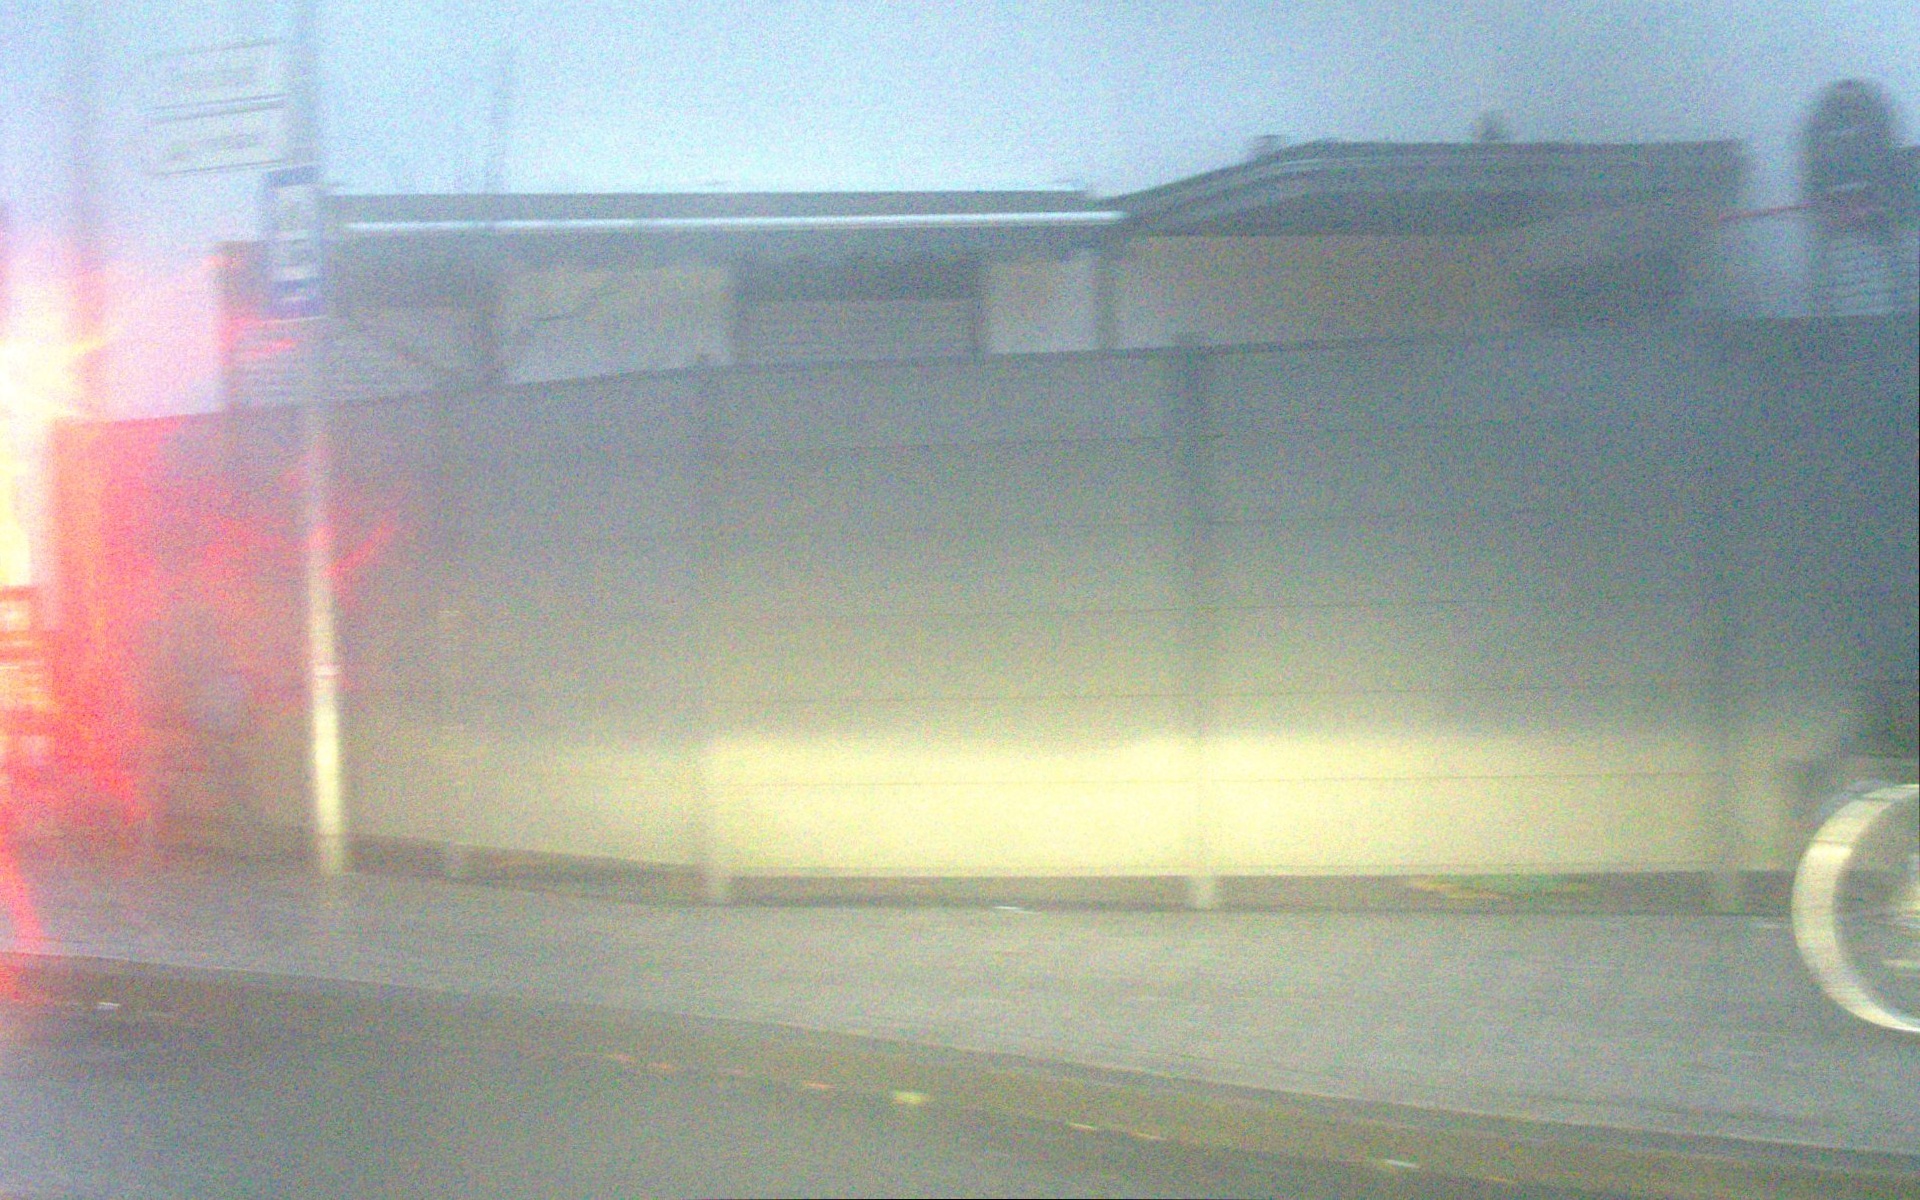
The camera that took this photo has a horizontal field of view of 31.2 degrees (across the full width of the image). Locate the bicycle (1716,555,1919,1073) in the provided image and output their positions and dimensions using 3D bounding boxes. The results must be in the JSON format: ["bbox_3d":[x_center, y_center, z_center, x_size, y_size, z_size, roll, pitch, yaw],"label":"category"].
[{"bbox_3d":[2.968,0.543,8.761,1.939,1.291,0.551,0,4,27],"label":"bicycle"}]
